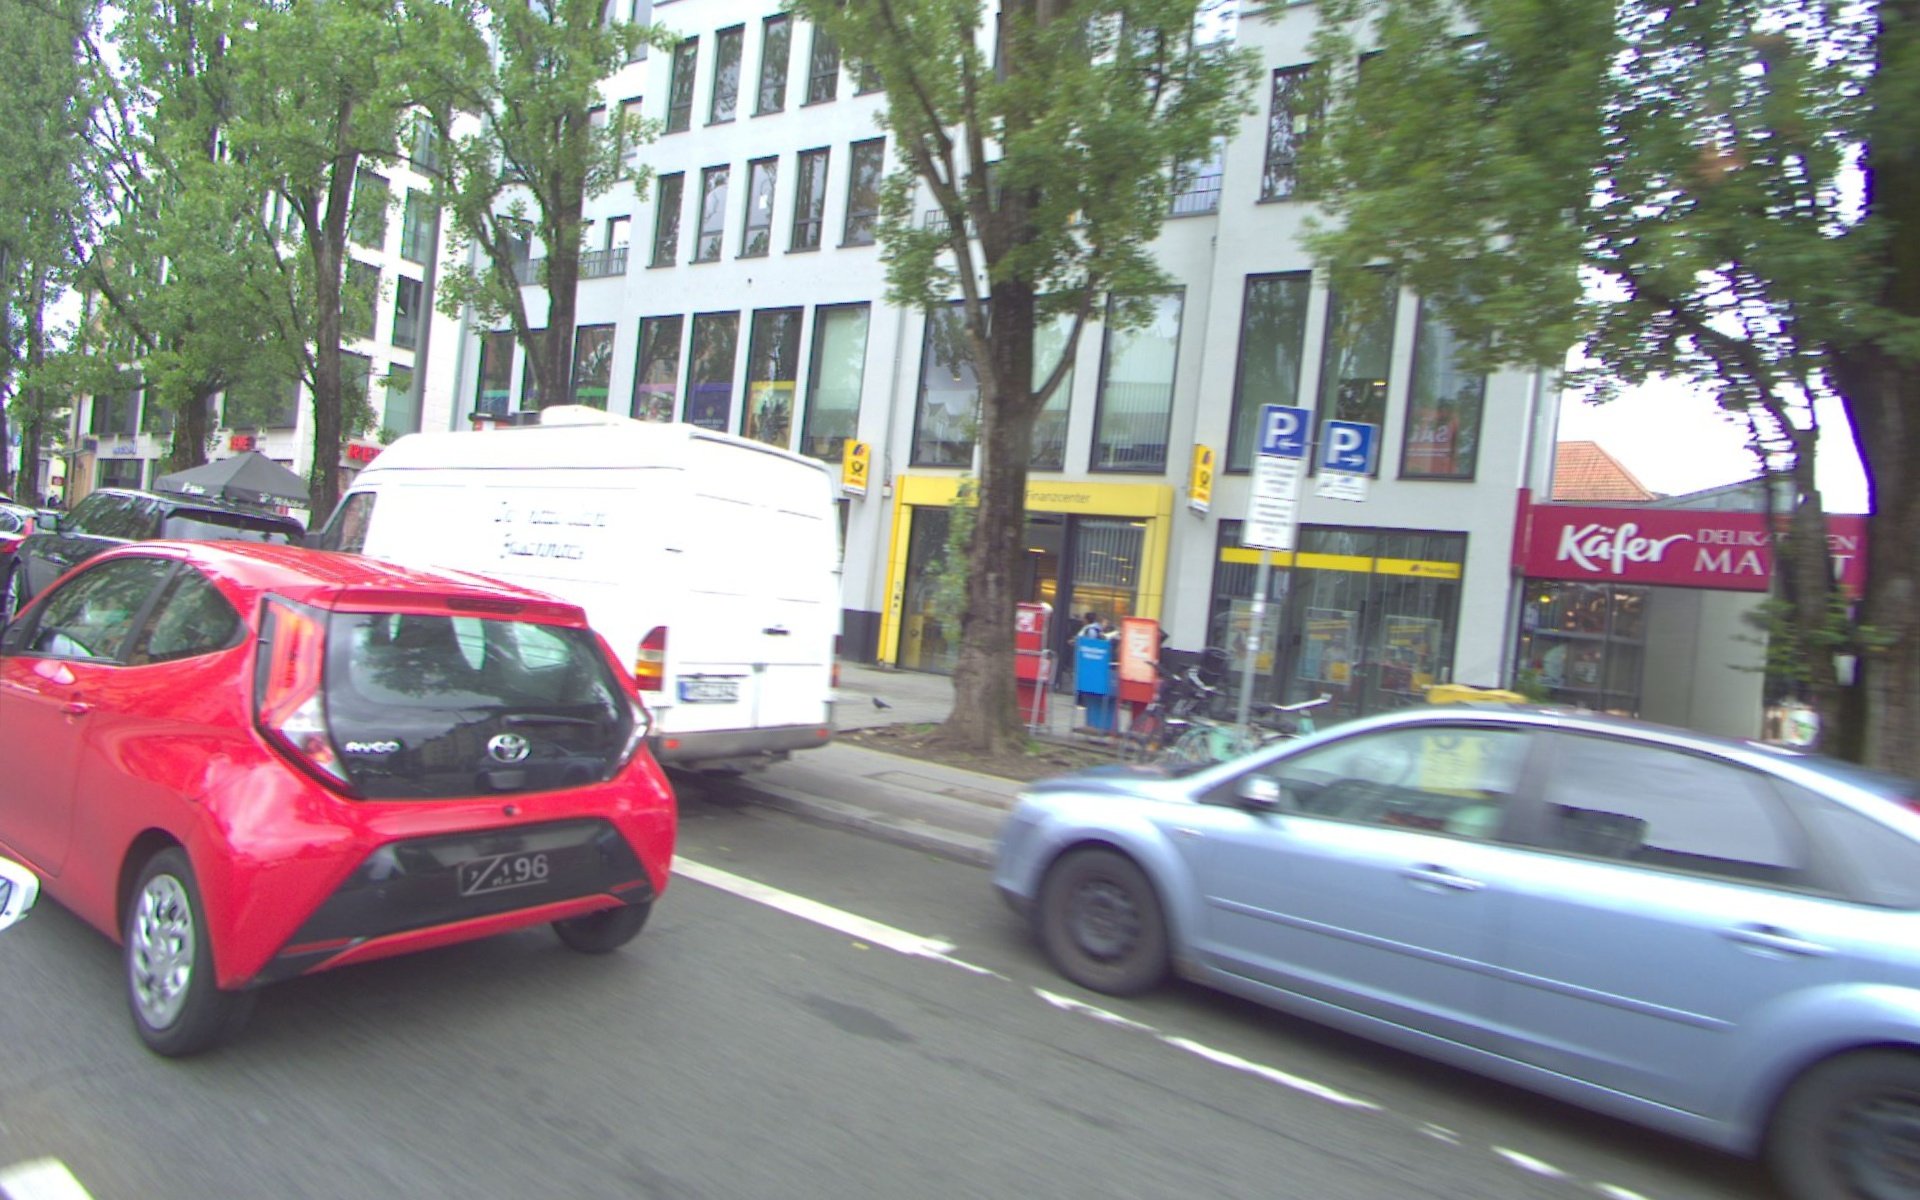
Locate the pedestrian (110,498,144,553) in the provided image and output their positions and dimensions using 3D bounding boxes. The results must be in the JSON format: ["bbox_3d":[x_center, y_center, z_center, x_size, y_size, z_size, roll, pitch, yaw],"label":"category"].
[{"bbox_3d":[-26.302,-2.362,31.759,0.782,1.640,0.609,7,2,39],"label":"pedestrian"}]

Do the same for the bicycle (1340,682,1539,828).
[{"bbox_3d":[5.029,1.588,10.604,1.743,1.210,0.527,6,1,31],"label":"bicycle"}]

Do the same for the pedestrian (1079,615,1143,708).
[{"bbox_3d":[2.697,1.093,17.993,0.699,1.555,0.763,7,2,40],"label":"pedestrian"}]

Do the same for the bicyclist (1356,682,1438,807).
[{"bbox_3d":[4.705,1.531,10.836,0.631,1.211,0.538,7,1,31],"label":"bicyclist"}]

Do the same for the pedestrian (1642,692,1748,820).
[{"bbox_3d":[9.424,1.988,12.920,0.640,1.494,0.756,7,-1,-21],"label":"pedestrian"}]

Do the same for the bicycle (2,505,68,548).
[{"bbox_3d":[-30.571,-2.411,33.255,0.527,1.223,1.478,7,1,35],"label":"bicycle"}]

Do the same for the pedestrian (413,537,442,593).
[{"bbox_3d":[-16.353,-1.057,30.885,0.499,1.643,0.548,7,-1,-13],"label":"pedestrian"}]

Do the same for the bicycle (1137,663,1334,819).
[{"bbox_3d":[2.576,1.292,9.490,1.606,1.174,0.478,7,0,32],"label":"bicycle"}]

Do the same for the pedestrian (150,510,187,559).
[{"bbox_3d":[-31.443,-2.599,39.977,0.669,1.794,0.796,6,1,20],"label":"pedestrian"}]

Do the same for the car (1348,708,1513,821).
[{"bbox_3d":[4.963,1.713,10.652,1.471,0.916,0.367,6,1,31],"label":"car"}]

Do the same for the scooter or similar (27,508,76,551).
[{"bbox_3d":[-29.527,-2.288,32.698,0.374,1.241,1.050,7,1,35],"label":"scooter or similar"}]

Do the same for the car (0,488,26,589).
[{"bbox_3d":[-18.664,-1.313,18.110,4.339,1.707,1.728,6,-1,35],"label":"car"}]

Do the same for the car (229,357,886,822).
[{"bbox_3d":[-3.526,-0.194,8.297,5.464,2.774,1.996,6,-1,33],"label":"car"}]

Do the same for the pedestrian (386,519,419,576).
[{"bbox_3d":[-17.118,-1.607,30.897,0.497,1.643,0.549,6,-1,9],"label":"pedestrian"}]

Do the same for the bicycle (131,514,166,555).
[{"bbox_3d":[-25.964,-2.103,32.183,1.742,1.187,0.449,6,1,39],"label":"bicycle"}]

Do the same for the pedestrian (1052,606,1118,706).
[{"bbox_3d":[2.145,0.958,17.256,0.760,1.605,0.691,7,1,31],"label":"pedestrian"}]

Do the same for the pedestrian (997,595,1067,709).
[{"bbox_3d":[1.159,0.832,16.272,0.711,1.747,0.736,5,1,-22],"label":"pedestrian"}]

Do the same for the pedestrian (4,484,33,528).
[{"bbox_3d":[-43.700,-4.370,46.688,0.925,1.893,0.816,7,2,40],"label":"pedestrian"}]

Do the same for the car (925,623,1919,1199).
[{"bbox_3d":[2.063,1.113,4.293,4.082,1.470,1.727,6,-2,35],"label":"car"}]

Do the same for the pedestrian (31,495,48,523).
[{"bbox_3d":[-56.890,-5.629,62.151,0.670,1.634,0.632,5,1,-44],"label":"pedestrian"}]

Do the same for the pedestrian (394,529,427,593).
[{"bbox_3d":[-14.920,-1.057,27.312,0.561,1.655,0.490,7,1,38],"label":"pedestrian"}]

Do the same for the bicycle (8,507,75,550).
[{"bbox_3d":[-30.085,-2.338,32.962,0.527,1.223,1.478,7,1,35],"label":"bicycle"}]

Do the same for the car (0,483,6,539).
[{"bbox_3d":[-11.622,-0.589,10.149,4.114,1.633,1.764,6,-1,31],"label":"car"}]

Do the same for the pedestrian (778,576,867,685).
[{"bbox_3d":[-2.259,0.504,16.531,1.006,1.657,0.800,7,1,32],"label":"pedestrian"}]

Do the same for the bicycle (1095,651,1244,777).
[{"bbox_3d":[2.269,1.221,10.776,0.696,1.174,1.624,7,0,44],"label":"bicycle"}]

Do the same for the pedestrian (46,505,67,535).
[{"bbox_3d":[-51.772,-4.590,57.653,0.725,1.647,0.797,5,1,-37],"label":"pedestrian"}]

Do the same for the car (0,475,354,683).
[{"bbox_3d":[-9.142,-0.304,11.530,4.705,1.826,1.930,6,-1,36],"label":"car"}]

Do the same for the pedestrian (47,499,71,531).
[{"bbox_3d":[-47.542,-4.495,53.072,0.701,1.571,0.606,6,2,16],"label":"pedestrian"}]

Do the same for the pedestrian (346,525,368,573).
[{"bbox_3d":[-23.181,-1.948,38.658,0.421,1.773,0.467,7,1,40],"label":"pedestrian"}]

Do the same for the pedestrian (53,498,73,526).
[{"bbox_3d":[-56.203,-5.500,63.017,0.818,1.634,0.769,5,1,-44],"label":"pedestrian"}]

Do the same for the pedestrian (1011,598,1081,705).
[{"bbox_3d":[1.449,0.861,16.884,0.785,1.670,0.691,7,1,31],"label":"pedestrian"}]

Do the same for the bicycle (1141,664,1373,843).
[{"bbox_3d":[2.477,1.252,8.597,0.476,1.174,1.803,6,0,-42],"label":"bicycle"}]

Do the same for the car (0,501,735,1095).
[{"bbox_3d":[-2.890,0.467,4.231,3.537,1.463,1.667,6,-2,33],"label":"car"}]

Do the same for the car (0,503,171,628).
[{"bbox_3d":[-13.599,-0.628,14.753,4.497,1.450,1.774,7,-2,34],"label":"car"}]

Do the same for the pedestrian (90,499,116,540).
[{"bbox_3d":[-35.972,-3.378,42.237,0.544,1.658,0.555,6,1,-23],"label":"pedestrian"}]

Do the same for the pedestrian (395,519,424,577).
[{"bbox_3d":[-16.512,-1.556,30.173,0.544,1.643,0.503,7,-1,-34],"label":"pedestrian"}]

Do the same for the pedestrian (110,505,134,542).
[{"bbox_3d":[-35.492,-3.231,42.610,0.497,1.510,0.544,6,1,-22],"label":"pedestrian"}]
